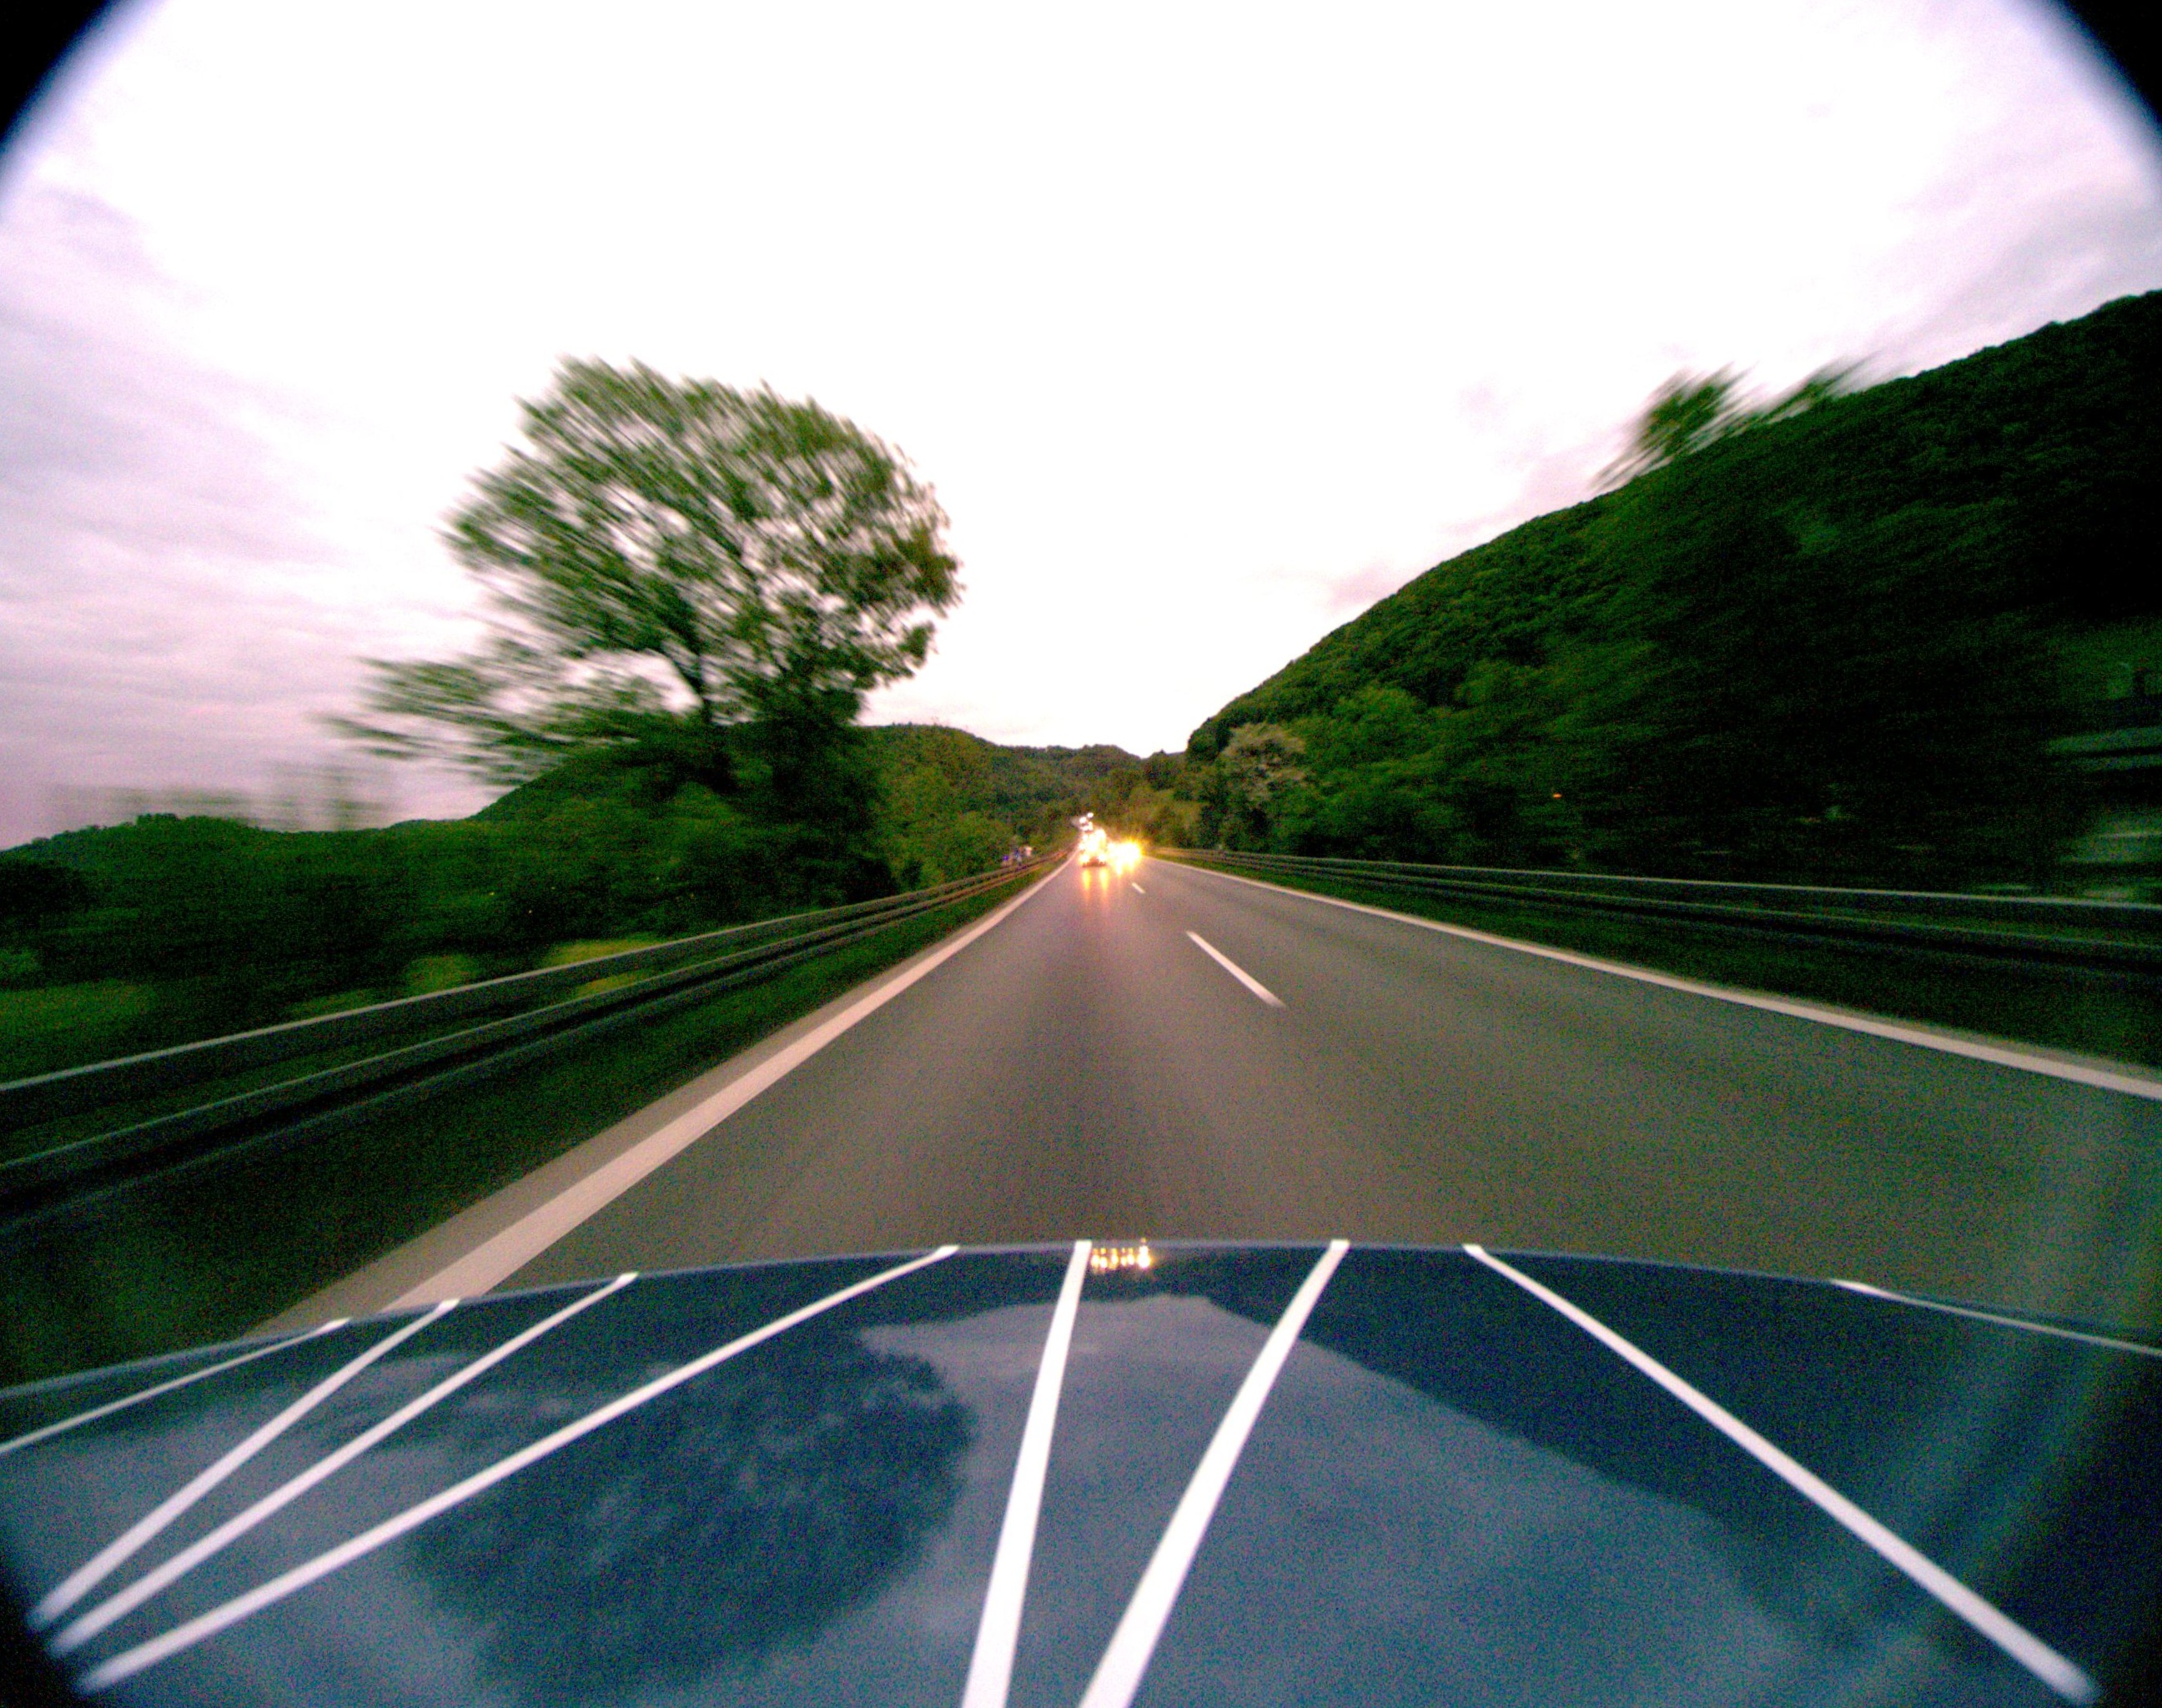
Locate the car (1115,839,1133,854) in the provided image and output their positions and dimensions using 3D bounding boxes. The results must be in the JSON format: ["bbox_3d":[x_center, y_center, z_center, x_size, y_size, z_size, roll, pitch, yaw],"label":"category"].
[{"bbox_3d":[4.673,-0.788,82.761,1.690,1.459,3.768,-3,-1,0],"label":"car"}]

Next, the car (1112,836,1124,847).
[{"bbox_3d":[5.676,-1.895,116.716,1.690,1.425,3.669,-3,-1,1],"label":"car"}]

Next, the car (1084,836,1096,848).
[{"bbox_3d":[1.423,-1.819,117.707,1.737,1.641,3.669,-3,-1,1],"label":"car"}]

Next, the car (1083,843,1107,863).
[{"bbox_3d":[1.076,-0.044,58.830,1.690,1.443,3.669,-3,-1,1],"label":"car"}]
